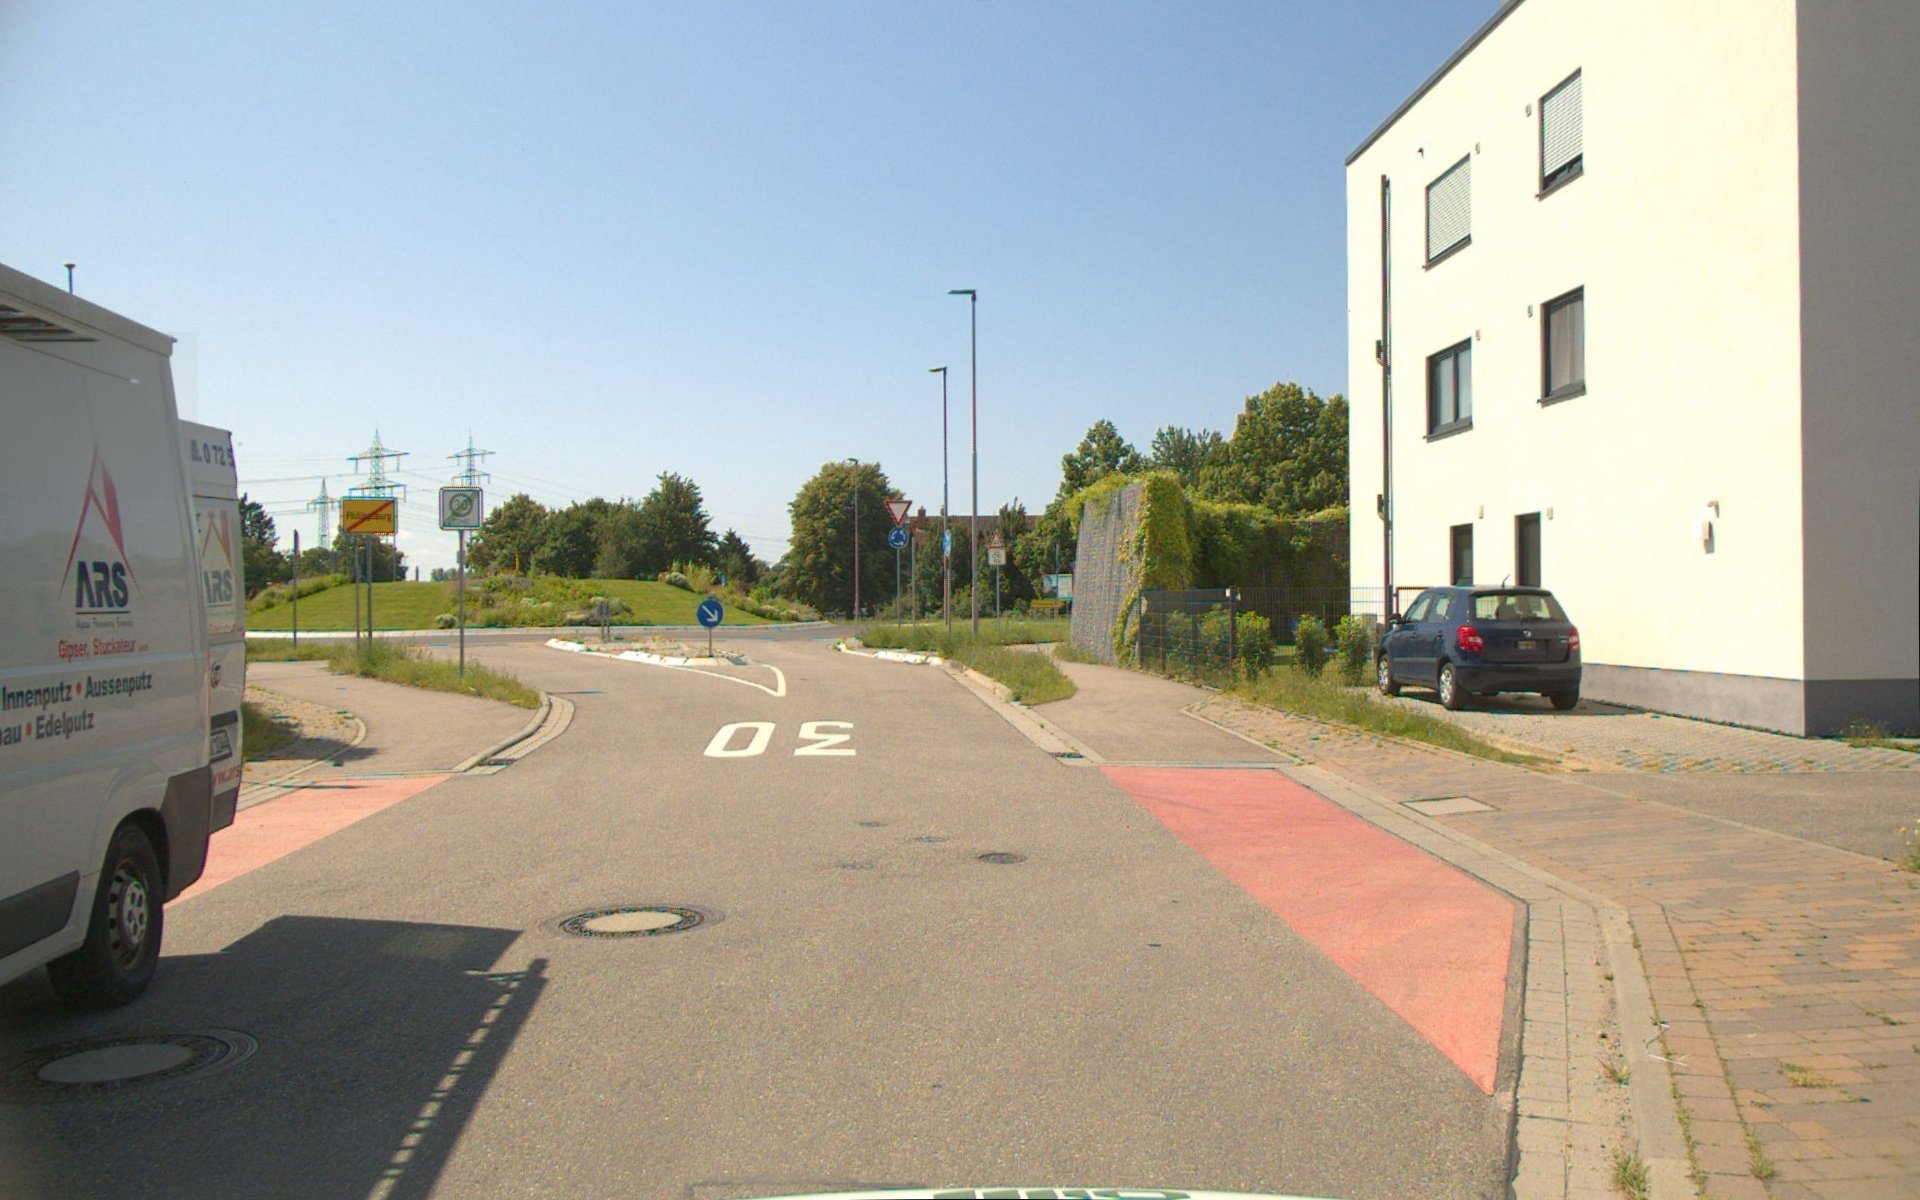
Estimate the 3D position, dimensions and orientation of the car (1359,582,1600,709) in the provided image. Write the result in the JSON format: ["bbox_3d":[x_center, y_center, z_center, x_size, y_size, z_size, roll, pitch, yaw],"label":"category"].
[{"bbox_3d":[6.642,0.521,21.612,1.644,1.495,4.113,0,1,-4],"label":"car"}]

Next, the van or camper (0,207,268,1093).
[{"bbox_3d":[-3.855,0.149,4.149,2.229,2.598,6.357,-1,0,-7],"label":"van or camper"}]
